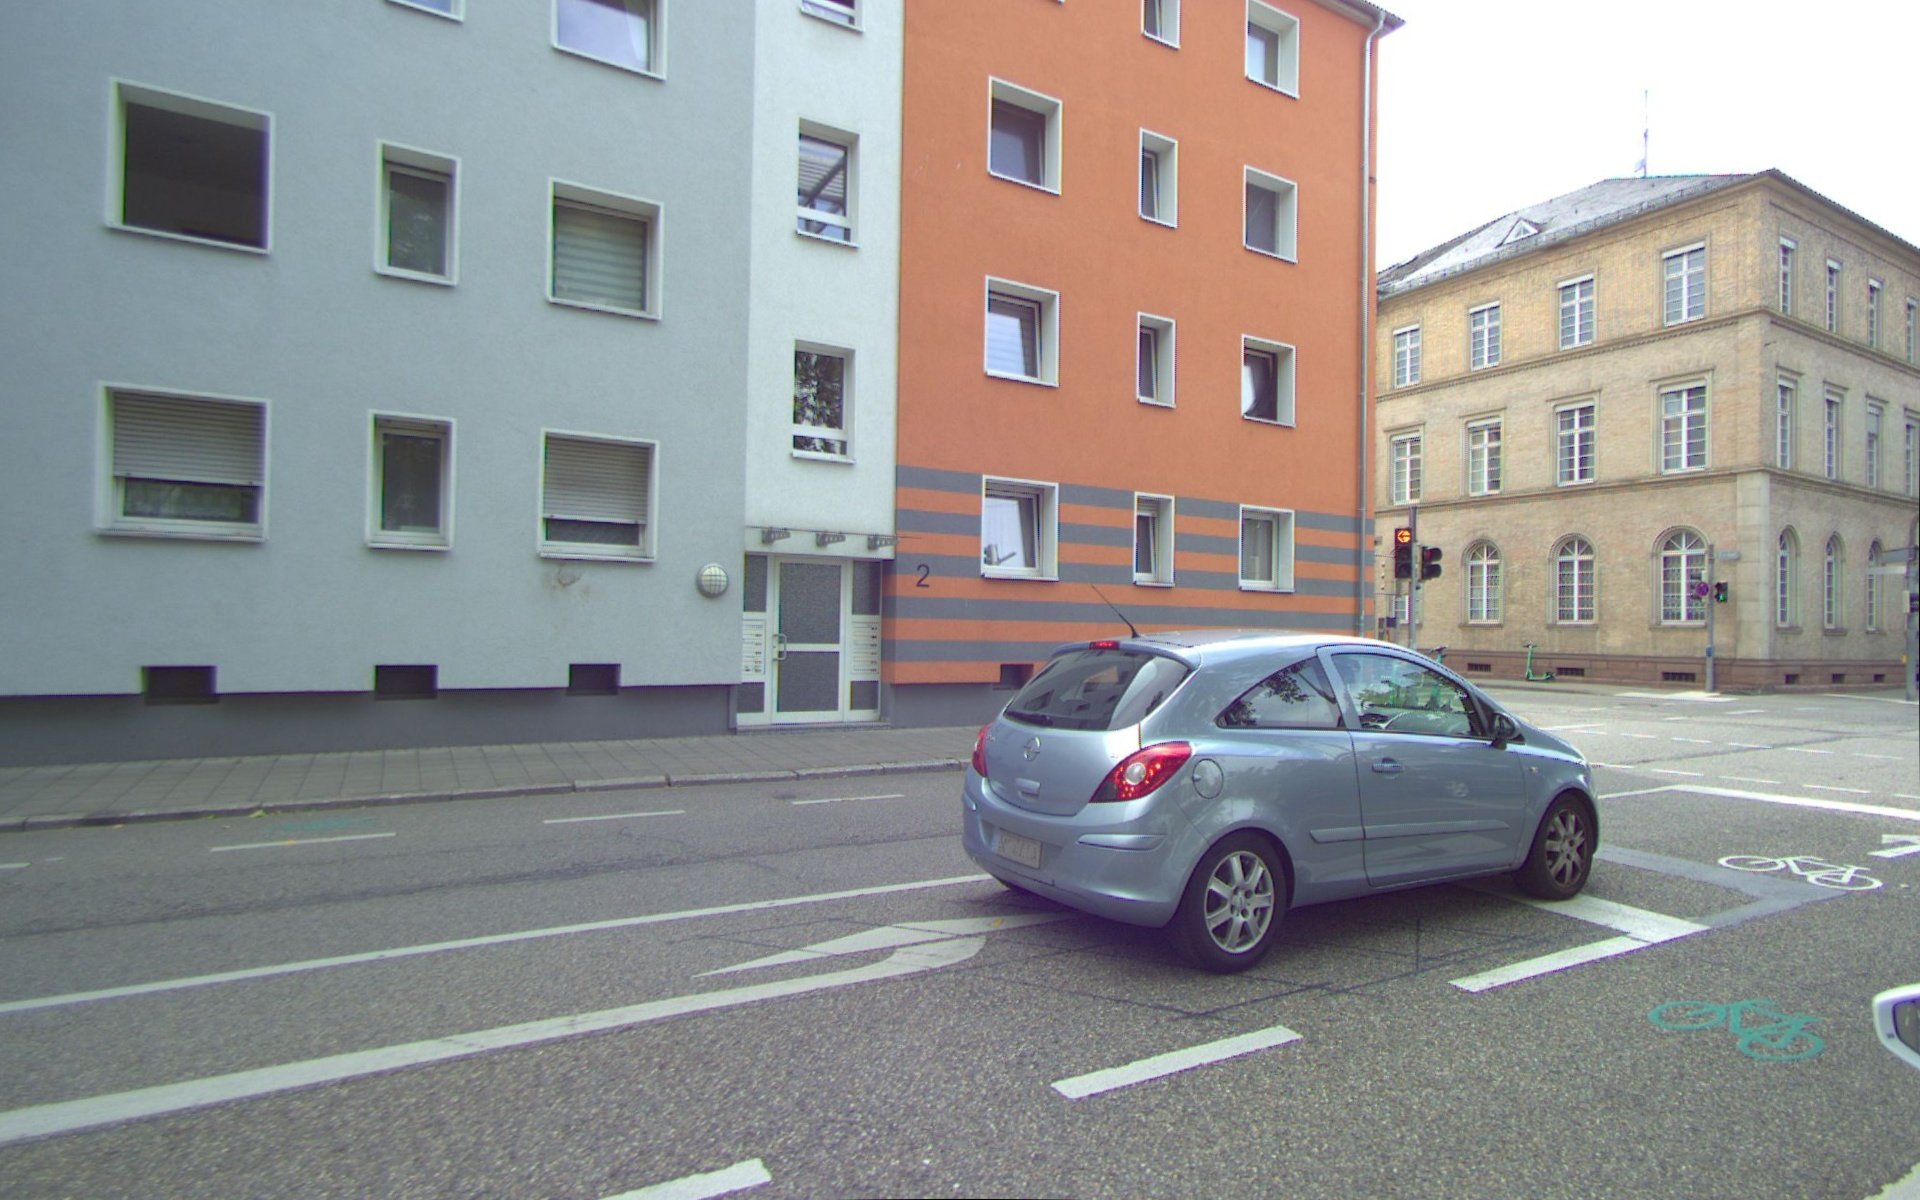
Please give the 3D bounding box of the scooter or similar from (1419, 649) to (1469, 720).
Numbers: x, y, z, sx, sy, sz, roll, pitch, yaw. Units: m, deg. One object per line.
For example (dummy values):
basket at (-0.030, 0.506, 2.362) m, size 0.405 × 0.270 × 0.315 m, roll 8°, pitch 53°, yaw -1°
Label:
scooter or similar at (8.668, 1.490, 17.977) m, size 1.333 × 1.194 × 0.326 m, roll 2°, pitch 0°, yaw -43°

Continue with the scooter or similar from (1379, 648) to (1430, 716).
scooter or similar at (8.133, 1.483, 18.367) m, size 1.344 × 1.173 × 0.326 m, roll 2°, pitch 0°, yaw -43°

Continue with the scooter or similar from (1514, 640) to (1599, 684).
scooter or similar at (18.363, 1.897, 30.973) m, size 0.552 × 1.180 × 2.363 m, roll 2°, pitch 0°, yaw -23°

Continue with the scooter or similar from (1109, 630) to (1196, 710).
scooter or similar at (2.895, 1.042, 15.081) m, size 1.338 × 1.139 × 0.367 m, roll 2°, pitch 0°, yaw -30°

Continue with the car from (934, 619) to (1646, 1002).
car at (1.907, 0.871, 5.531) m, size 3.775 × 1.457 × 1.661 m, roll 2°, pitch -2°, yaw -30°
